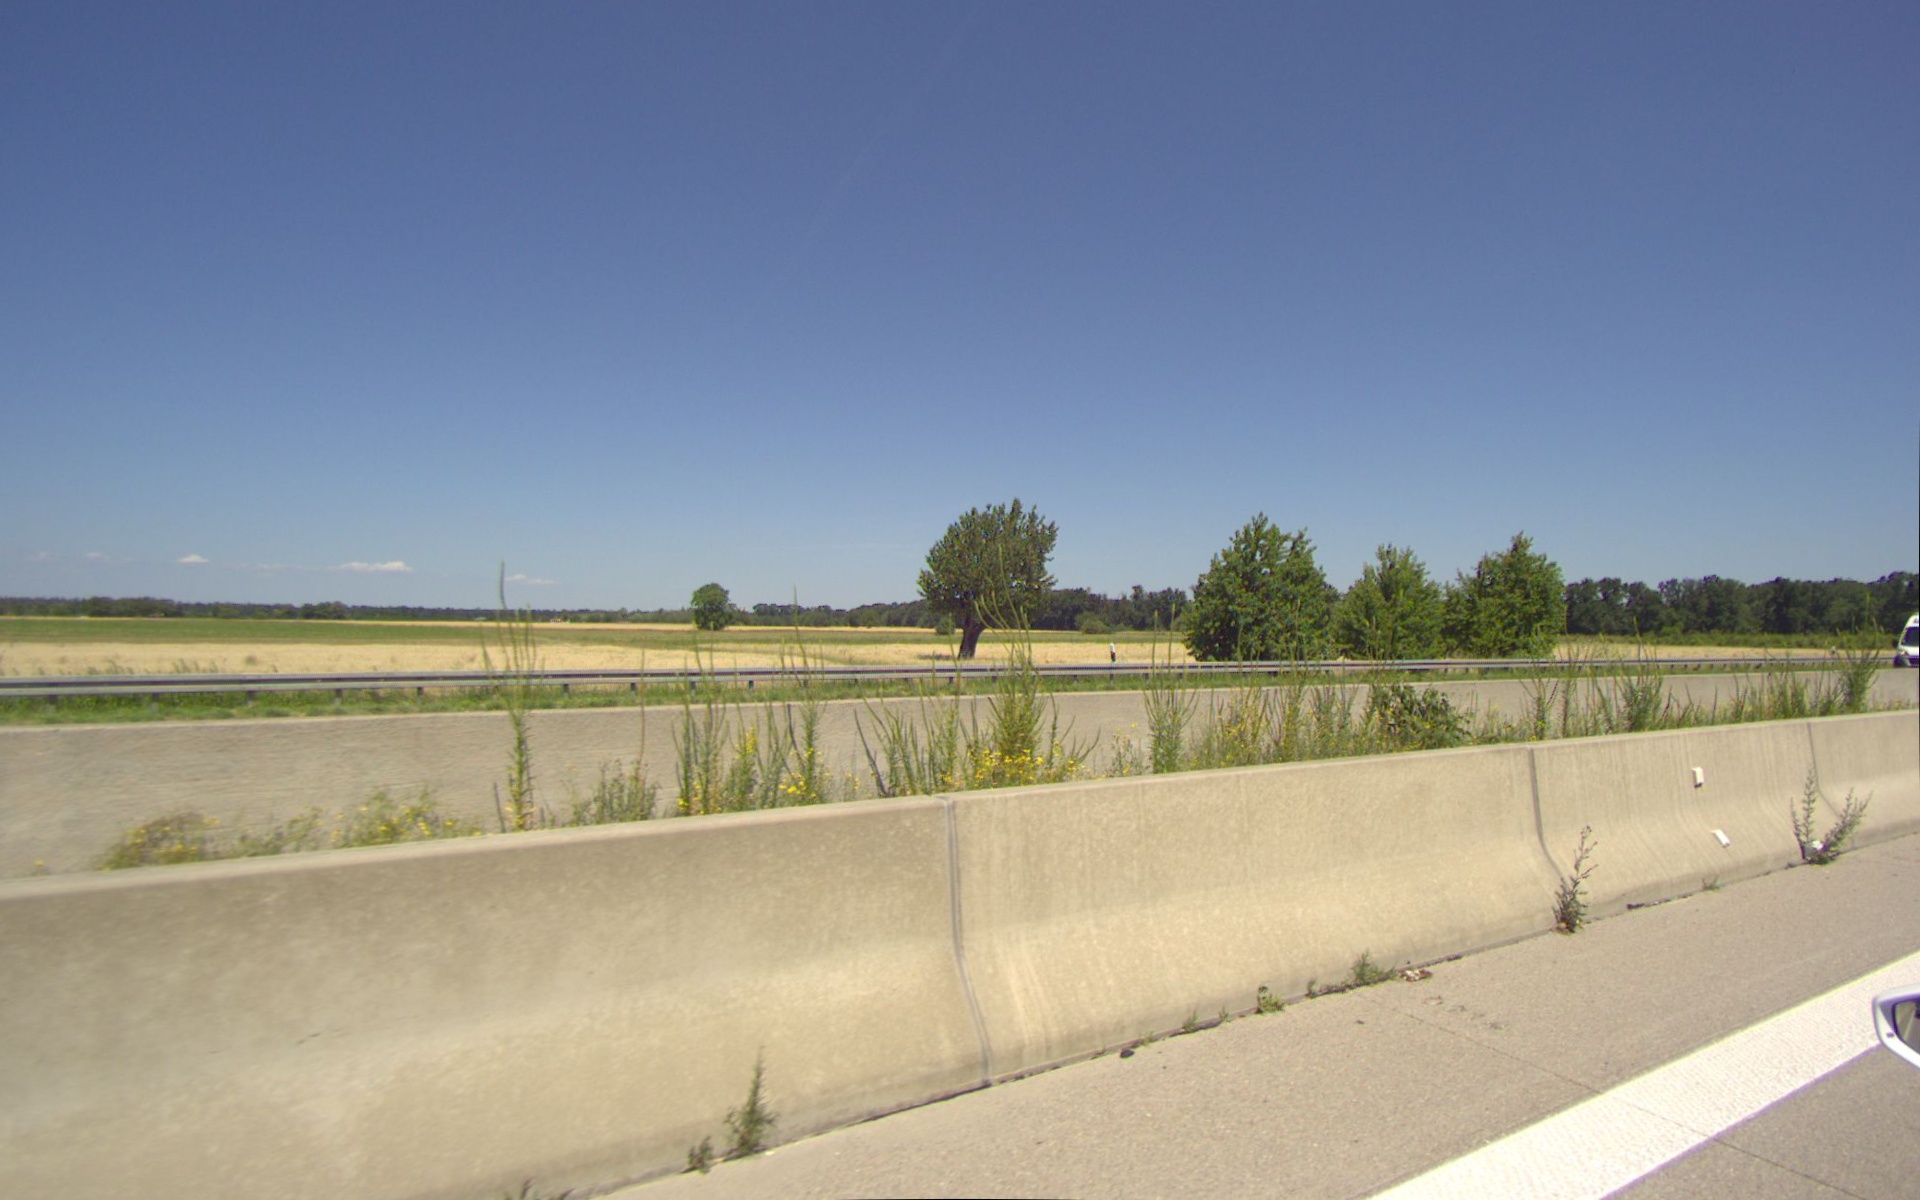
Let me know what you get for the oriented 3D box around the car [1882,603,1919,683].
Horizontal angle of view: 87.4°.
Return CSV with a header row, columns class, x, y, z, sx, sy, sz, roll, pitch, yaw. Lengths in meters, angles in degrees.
class,x,y,z,sx,sy,sz,roll,pitch,yaw
car,36.965,1.621,37.516,7.001,2.826,2.248,1,0,-35
